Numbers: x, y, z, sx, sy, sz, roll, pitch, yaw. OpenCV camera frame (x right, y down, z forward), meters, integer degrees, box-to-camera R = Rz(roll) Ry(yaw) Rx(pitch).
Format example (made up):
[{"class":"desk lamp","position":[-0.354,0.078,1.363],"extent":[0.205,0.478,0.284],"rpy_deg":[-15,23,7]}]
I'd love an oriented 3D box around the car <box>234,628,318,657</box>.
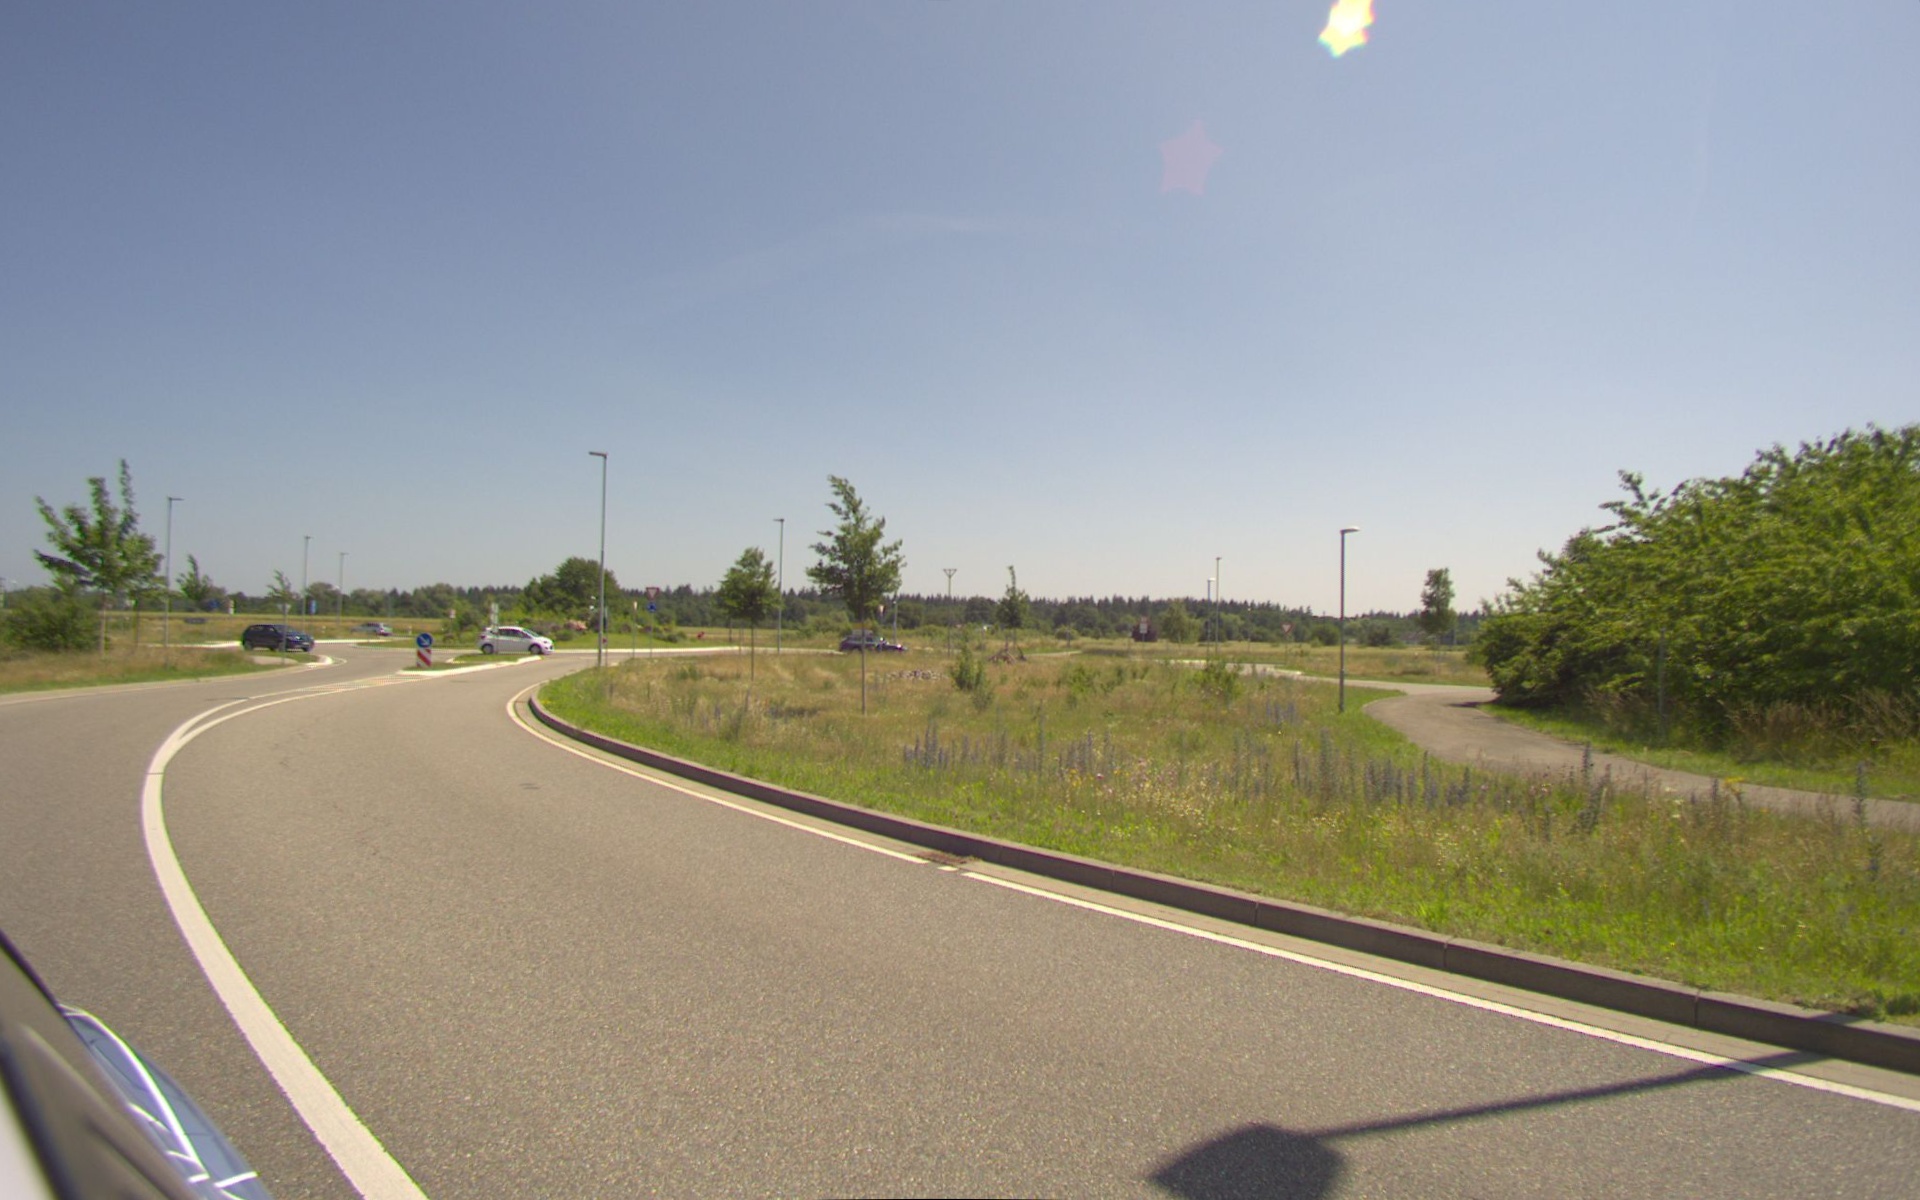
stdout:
[{"class":"car","position":[-40.312,2.491,59.648],"extent":[4.107,1.573,1.716],"rpy_deg":[1,-1,12]}]

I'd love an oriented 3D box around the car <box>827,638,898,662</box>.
[{"class":"car","position":[-6.538,3.367,68.028],"extent":[4.444,1.445,1.875],"rpy_deg":[2,0,-16]}]

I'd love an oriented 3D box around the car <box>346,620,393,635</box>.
[{"class":"car","position":[-63.078,2.955,108.153],"extent":[3.955,1.497,1.994],"rpy_deg":[1,-3,9]}]

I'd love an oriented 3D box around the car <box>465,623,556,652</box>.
[{"class":"car","position":[-26.148,2.172,59.010],"extent":[4.449,1.573,1.873],"rpy_deg":[2,-1,-8]}]
